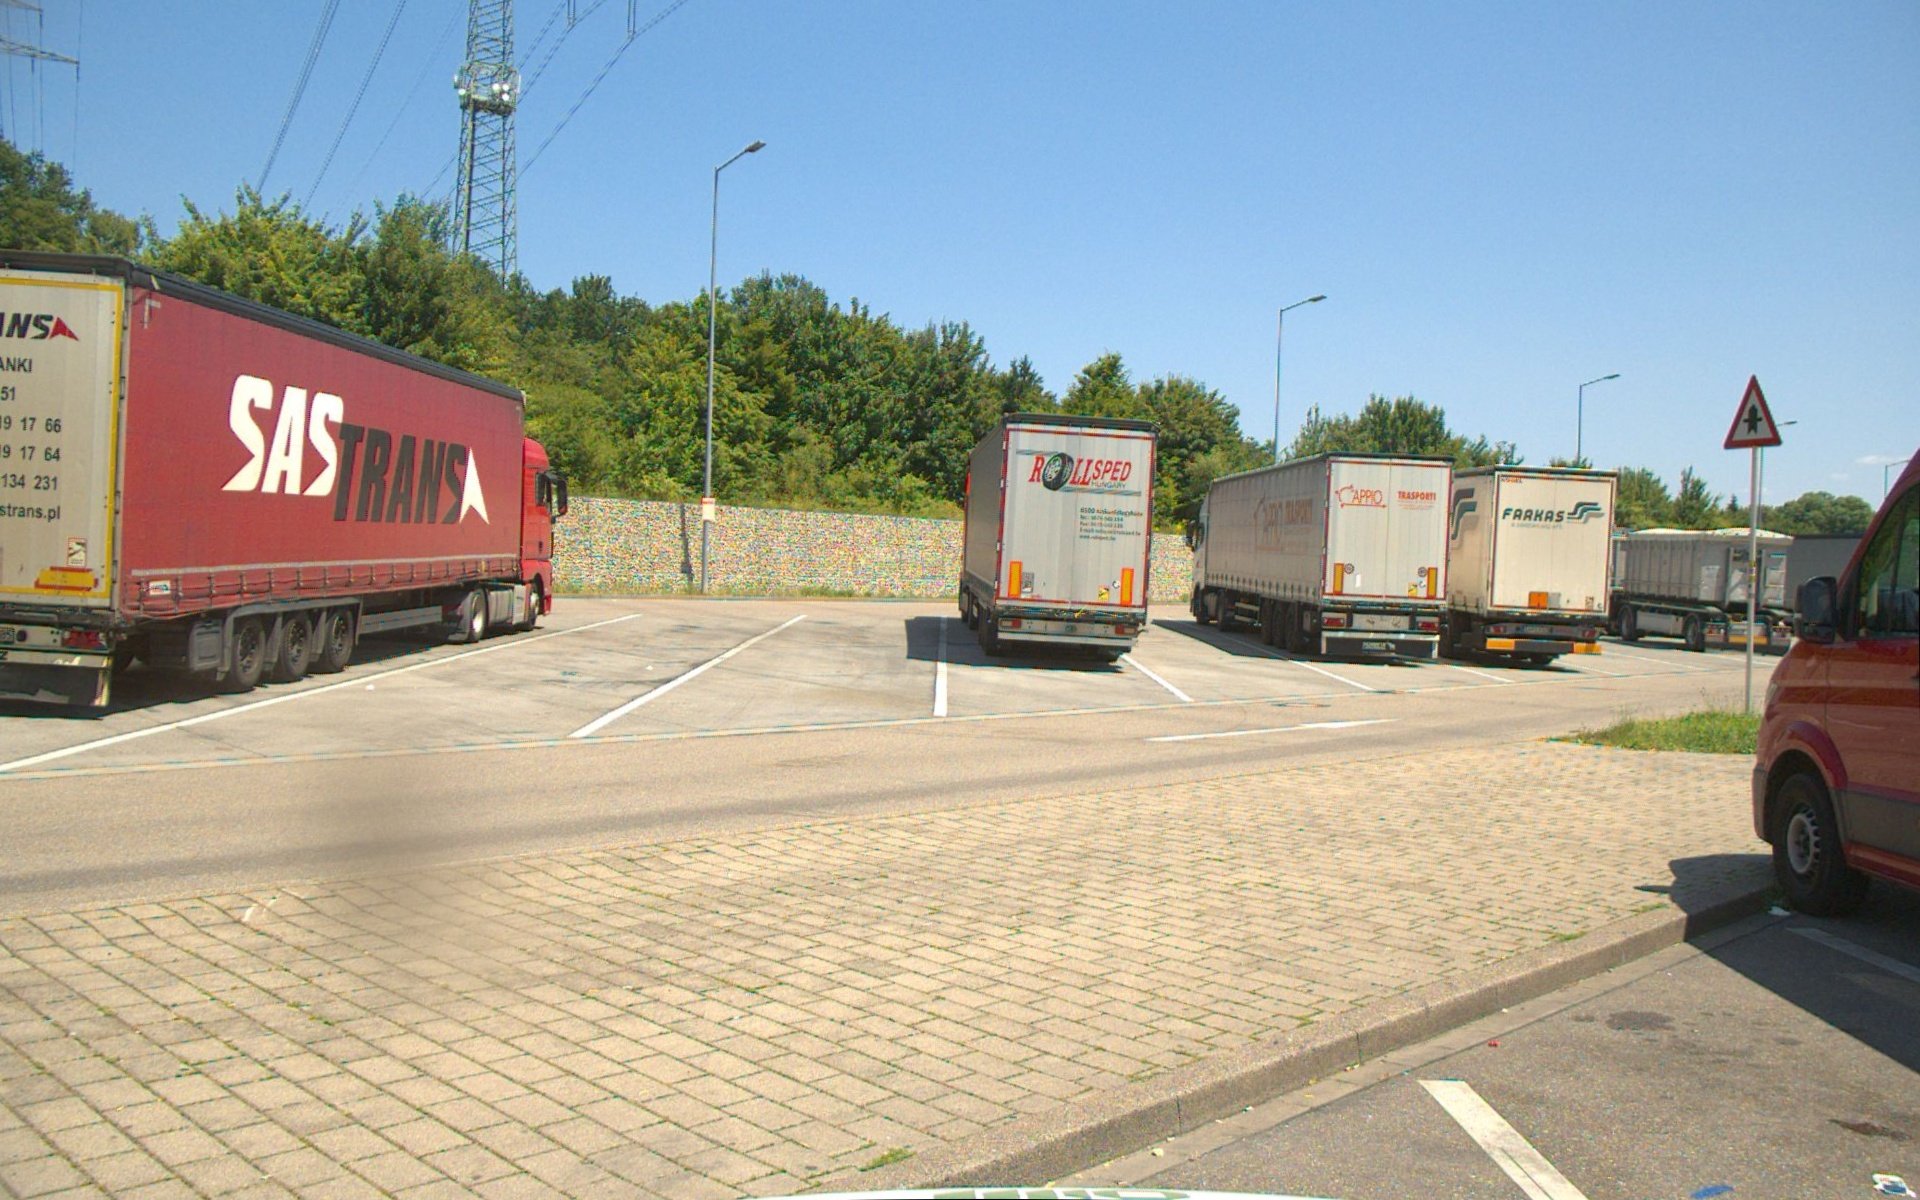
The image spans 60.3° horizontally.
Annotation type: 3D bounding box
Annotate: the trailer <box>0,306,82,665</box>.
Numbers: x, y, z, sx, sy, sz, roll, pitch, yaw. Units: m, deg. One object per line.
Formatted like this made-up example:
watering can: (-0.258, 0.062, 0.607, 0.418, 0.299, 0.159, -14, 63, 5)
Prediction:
trailer: (-12.484, -1.257, 15.793, 2.651, 4.173, 10.389, 2, 2, -1)

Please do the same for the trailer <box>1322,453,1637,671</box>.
trailer: (11.773, -0.989, 39.564, 2.800, 4.180, 13.762, 2, 2, -1)

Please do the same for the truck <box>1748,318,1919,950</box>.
truck: (4.997, 0.156, 5.515, 1.969, 2.697, 6.457, 1, 0, 3)

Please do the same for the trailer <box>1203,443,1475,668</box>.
trailer: (8.253, -1.100, 38.500, 2.800, 4.180, 13.762, 2, 2, -1)

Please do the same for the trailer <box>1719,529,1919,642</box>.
trailer: (34.793, -0.707, 65.442, 2.800, 3.972, 13.762, 2, 2, -1)

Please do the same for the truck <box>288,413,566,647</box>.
truck: (-8.796, -1.160, 28.065, 2.755, 3.421, 5.974, 2, 2, -1)

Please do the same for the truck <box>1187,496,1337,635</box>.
truck: (8.131, -0.982, 45.262, 2.808, 3.421, 5.974, 2, 2, -1)

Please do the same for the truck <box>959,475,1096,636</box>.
truck: (1.479, -1.089, 39.344, 2.808, 3.421, 5.974, 2, 2, -1)

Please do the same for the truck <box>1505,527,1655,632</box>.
truck: (21.742, -0.792, 58.338, 2.808, 3.421, 5.974, 2, 2, -1)

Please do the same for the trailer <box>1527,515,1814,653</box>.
trailer: (21.840, -0.679, 52.243, 2.800, 3.662, 13.762, 2, 2, -1)

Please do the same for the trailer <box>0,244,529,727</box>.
trailer: (-8.687, -1.269, 21.249, 2.764, 4.141, 13.763, 2, 2, -1)

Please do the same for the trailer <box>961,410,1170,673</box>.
trailer: (1.680, -1.173, 33.147, 2.800, 4.040, 13.761, 2, 2, -2)
